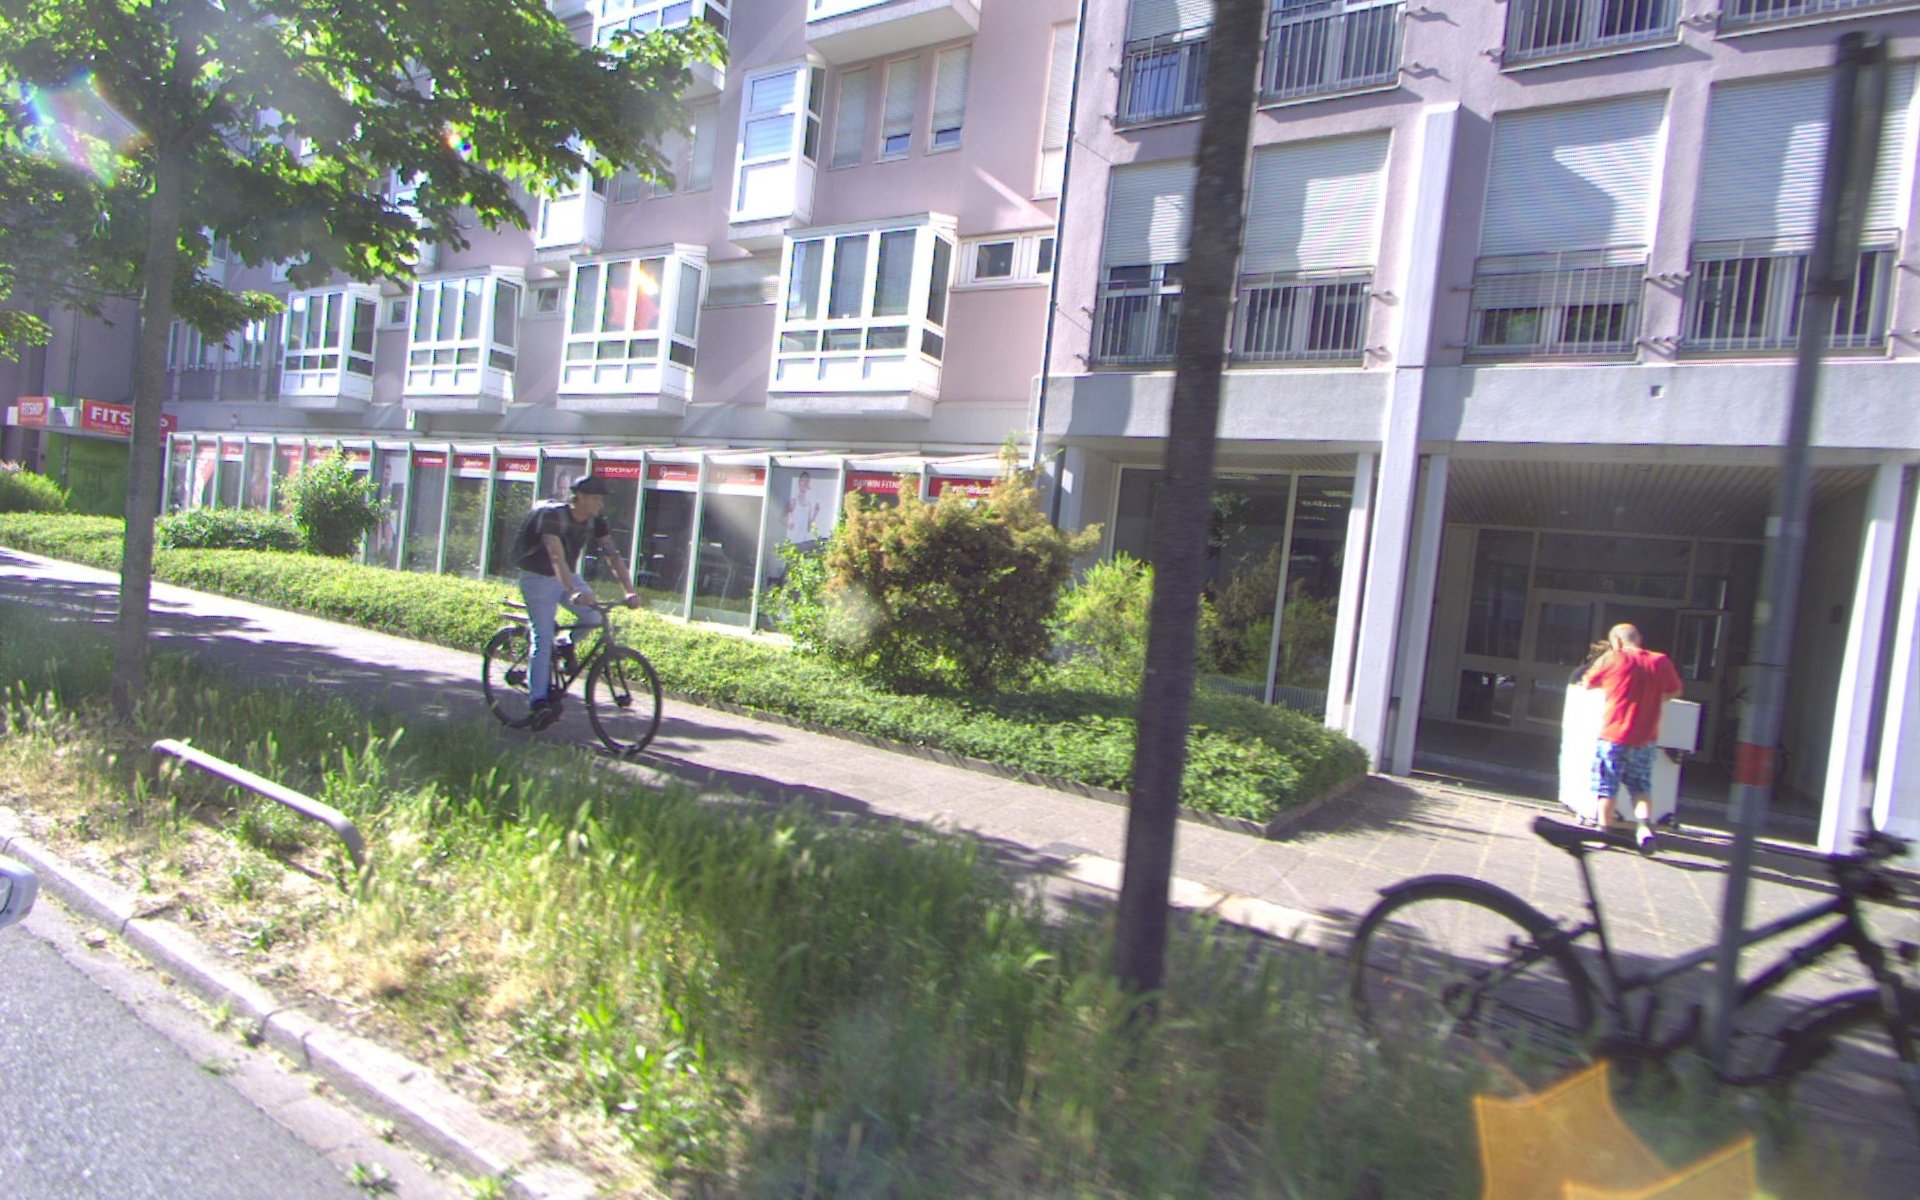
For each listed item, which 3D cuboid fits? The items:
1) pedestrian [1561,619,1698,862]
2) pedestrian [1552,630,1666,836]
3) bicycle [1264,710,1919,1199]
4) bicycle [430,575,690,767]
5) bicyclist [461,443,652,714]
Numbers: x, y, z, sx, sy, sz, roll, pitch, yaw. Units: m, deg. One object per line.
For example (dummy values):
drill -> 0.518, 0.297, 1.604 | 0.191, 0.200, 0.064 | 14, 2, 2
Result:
pedestrian -> 4.882, 0.985, 7.384 | 0.593, 1.626, 0.653 | 6, 4, 26
pedestrian -> 5.557, 1.104, 8.659 | 0.593, 1.626, 0.653 | 6, 4, 26
bicycle -> 1.893, 0.990, 2.617 | 0.588, 1.079, 1.998 | 5, 1, -42
bicycle -> -2.759, 0.437, 6.861 | 1.829, 1.040, 0.589 | 6, 1, 31
bicyclist -> -2.763, -0.148, 6.902 | 0.874, 1.716, 0.668 | 7, 1, 30
